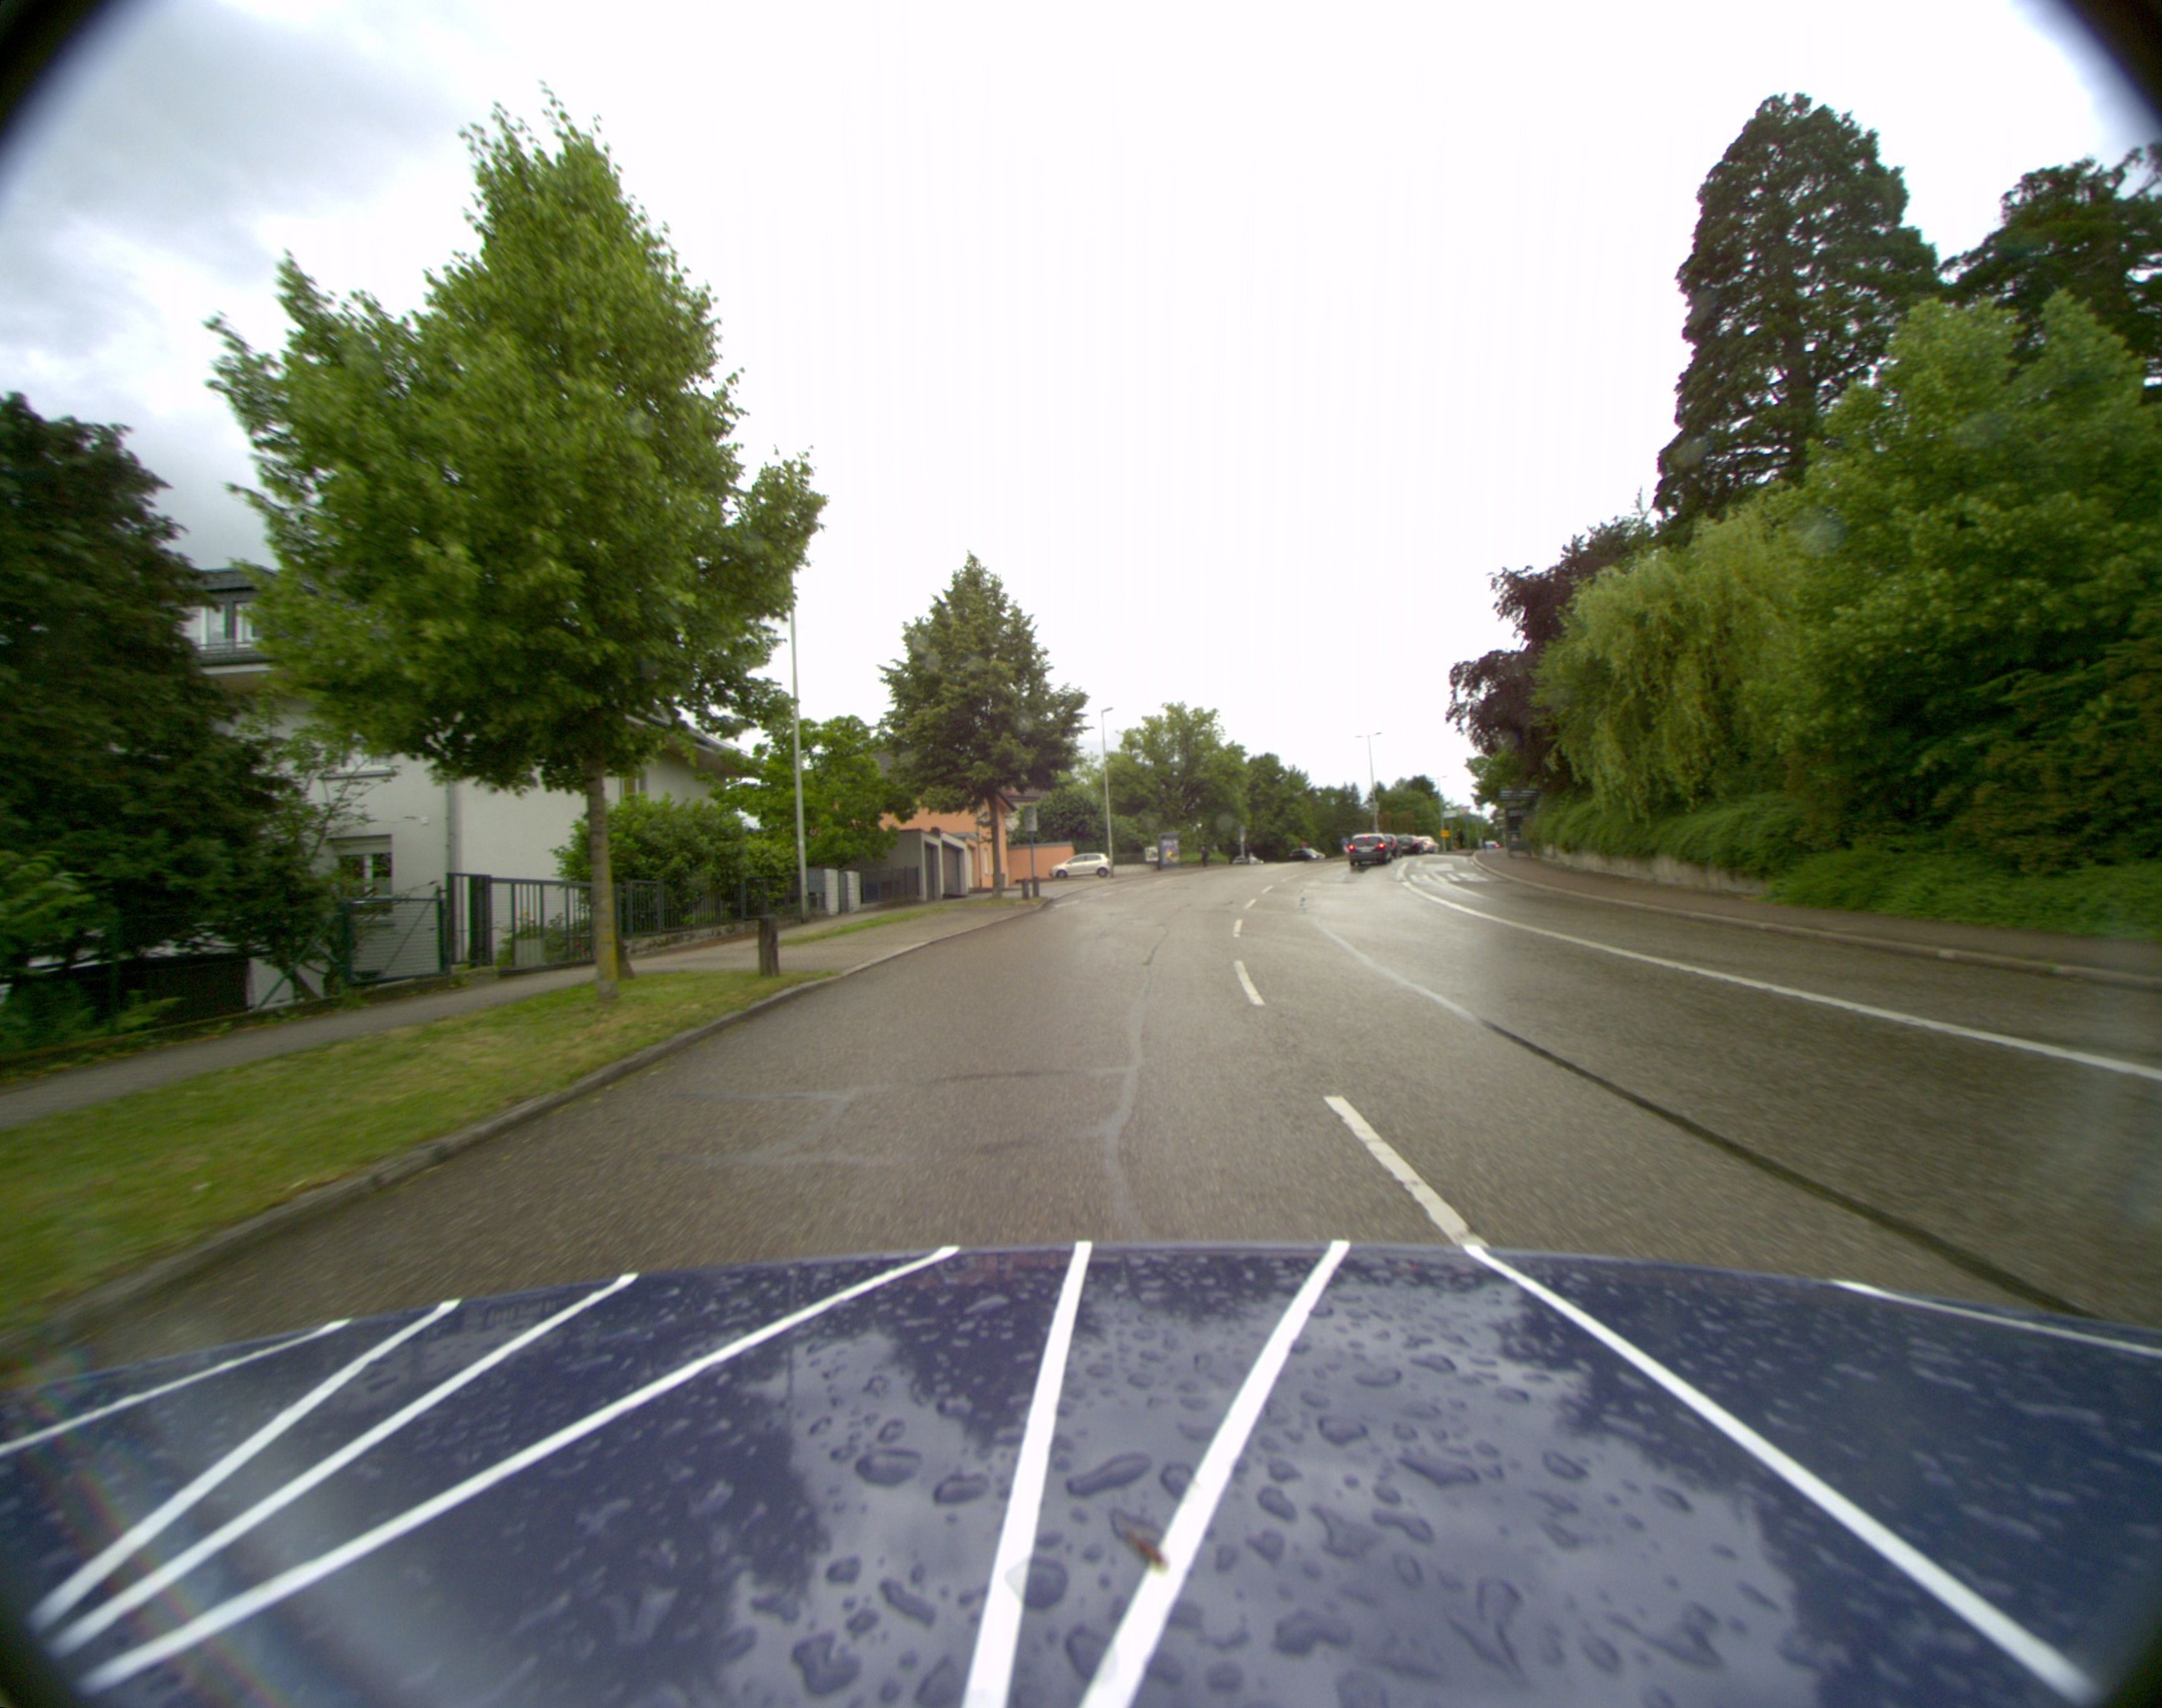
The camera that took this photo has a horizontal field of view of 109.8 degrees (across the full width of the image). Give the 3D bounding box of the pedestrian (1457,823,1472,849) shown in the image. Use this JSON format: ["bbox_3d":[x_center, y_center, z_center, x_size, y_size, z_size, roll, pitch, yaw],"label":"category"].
[{"bbox_3d":[27.520,-1.263,54.514,0.703,1.796,0.827,-3,-1,40],"label":"pedestrian"}]

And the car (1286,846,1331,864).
[{"bbox_3d":[22.223,0.094,74.286,1.865,1.406,4.380,-3,-2,-22],"label":"car"}]

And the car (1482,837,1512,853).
[{"bbox_3d":[42.027,-0.853,76.702,1.759,1.428,4.681,-5,-3,38],"label":"car"}]

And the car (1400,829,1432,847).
[{"bbox_3d":[28.071,-1.349,63.621,1.829,1.393,4.829,-3,0,30],"label":"car"}]

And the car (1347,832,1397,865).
[{"bbox_3d":[15.652,-0.331,40.701,1.812,1.568,4.693,-3,1,29],"label":"car"}]

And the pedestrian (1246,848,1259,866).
[{"bbox_3d":[15.873,0.270,70.316,0.820,1.645,0.724,-3,0,-28],"label":"pedestrian"}]

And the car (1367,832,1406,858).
[{"bbox_3d":[19.324,-0.555,47.926,1.723,1.455,4.385,-3,-1,29],"label":"car"}]

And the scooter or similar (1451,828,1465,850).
[{"bbox_3d":[27.203,-1.097,54.772,0.509,1.507,1.321,-3,-1,40],"label":"scooter or similar"}]

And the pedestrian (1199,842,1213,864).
[{"bbox_3d":[10.073,-0.077,61.258,0.926,1.645,1.099,-3,0,13],"label":"pedestrian"}]

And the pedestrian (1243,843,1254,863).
[{"bbox_3d":[15.239,-0.081,69.157,0.724,1.722,0.820,-3,0,24],"label":"pedestrian"}]

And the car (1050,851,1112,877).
[{"bbox_3d":[0.047,0.624,49.134,3.866,1.556,1.728,-1,-1,3],"label":"car"}]
